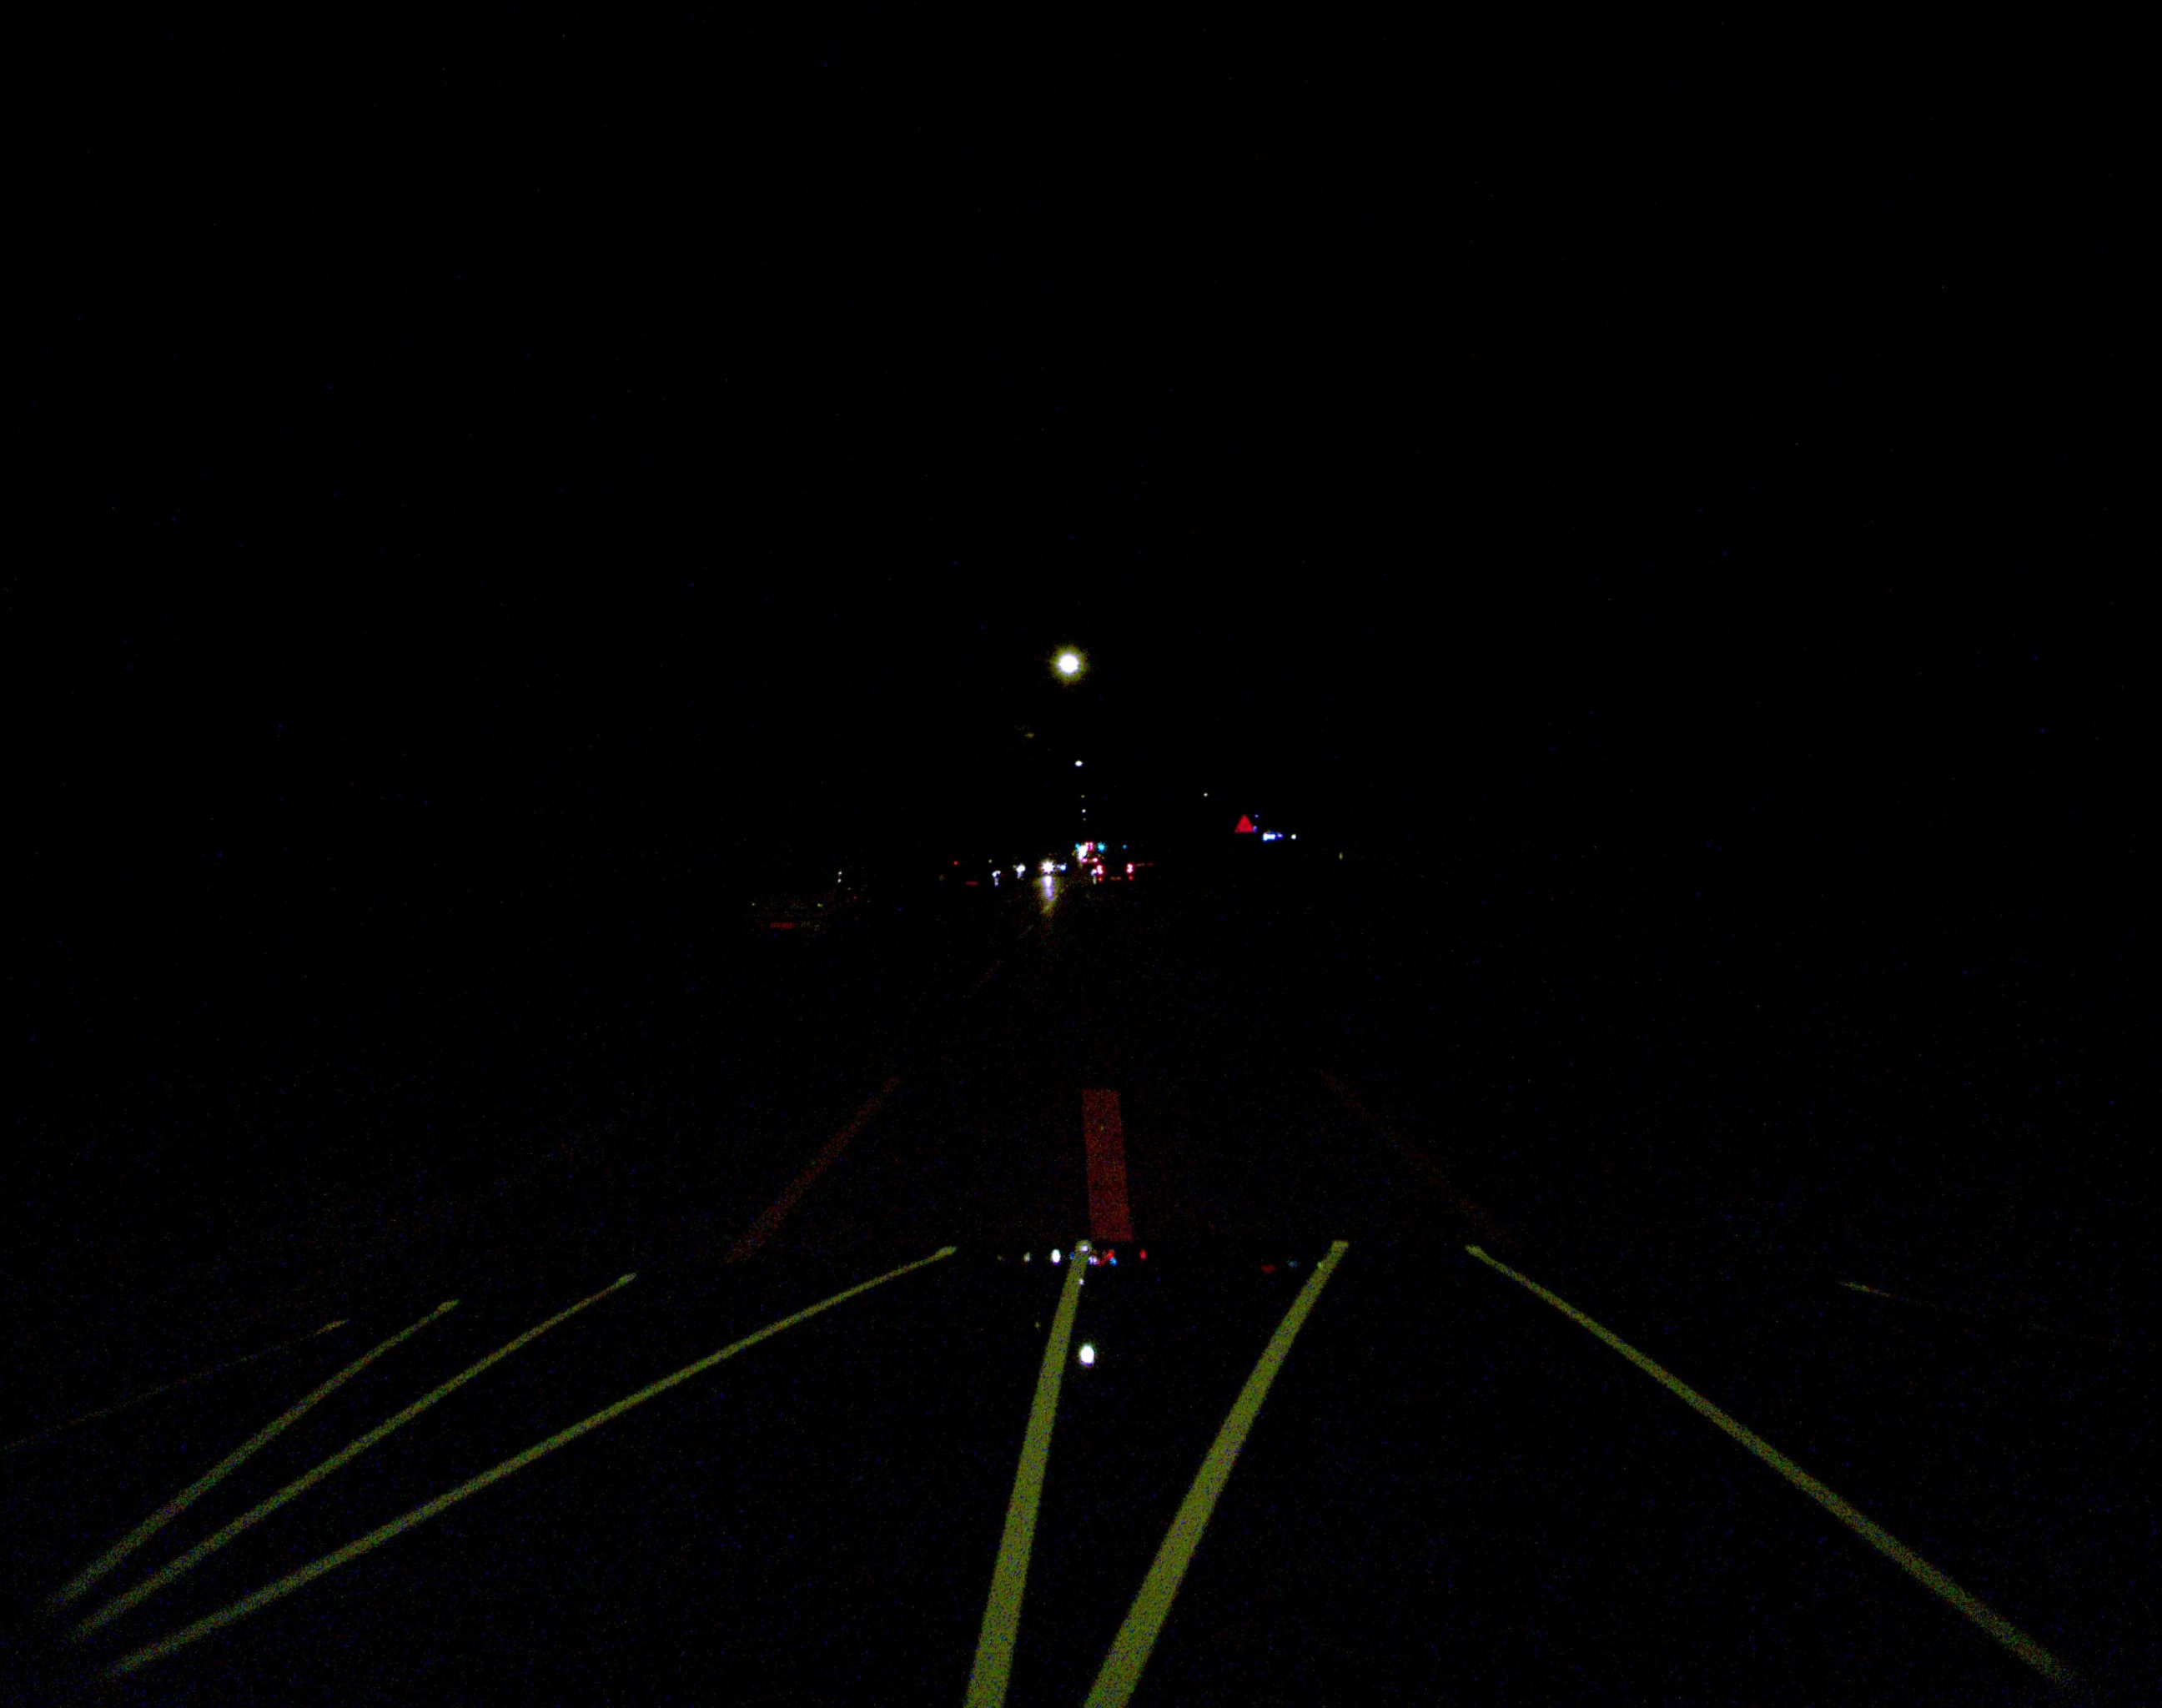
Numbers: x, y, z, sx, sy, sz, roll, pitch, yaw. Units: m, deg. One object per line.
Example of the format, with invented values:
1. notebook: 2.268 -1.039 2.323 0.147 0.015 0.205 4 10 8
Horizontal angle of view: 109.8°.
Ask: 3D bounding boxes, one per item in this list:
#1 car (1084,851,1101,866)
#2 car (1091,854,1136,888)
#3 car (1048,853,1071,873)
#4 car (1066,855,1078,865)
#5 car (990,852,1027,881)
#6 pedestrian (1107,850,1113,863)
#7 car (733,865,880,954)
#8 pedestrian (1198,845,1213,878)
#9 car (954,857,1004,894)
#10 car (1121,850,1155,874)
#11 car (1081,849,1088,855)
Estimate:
1. car: 1.426 0.537 93.248 1.903 1.581 3.661 -2 1 4
2. car: 1.437 0.822 34.844 1.755 1.433 3.487 -2 -2 -2
3. car: -1.718 0.699 61.665 1.780 1.477 3.999 -2 1 -1
4. car: -1.556 1.063 134.451 1.998 1.718 3.803 -2 1 1
5. car: -4.468 0.752 47.478 1.852 1.643 4.179 -2 0 0
6. pedestrian: 4.451 0.422 118.036 0.804 2.002 0.940 -2 1 1
7. car: -5.277 1.007 15.064 1.611 1.500 3.486 0 0 1
8. pedestrian: 6.659 0.398 40.594 0.673 1.750 0.500 -2 1 1
9. car: -4.476 0.905 33.945 1.742 1.489 3.890 -1 0 -1
10. car: 3.881 0.516 52.080 1.998 1.477 3.999 -3 1 1
11. car: 1.036 -0.675 242.670 1.998 1.740 3.999 -2 1 1
